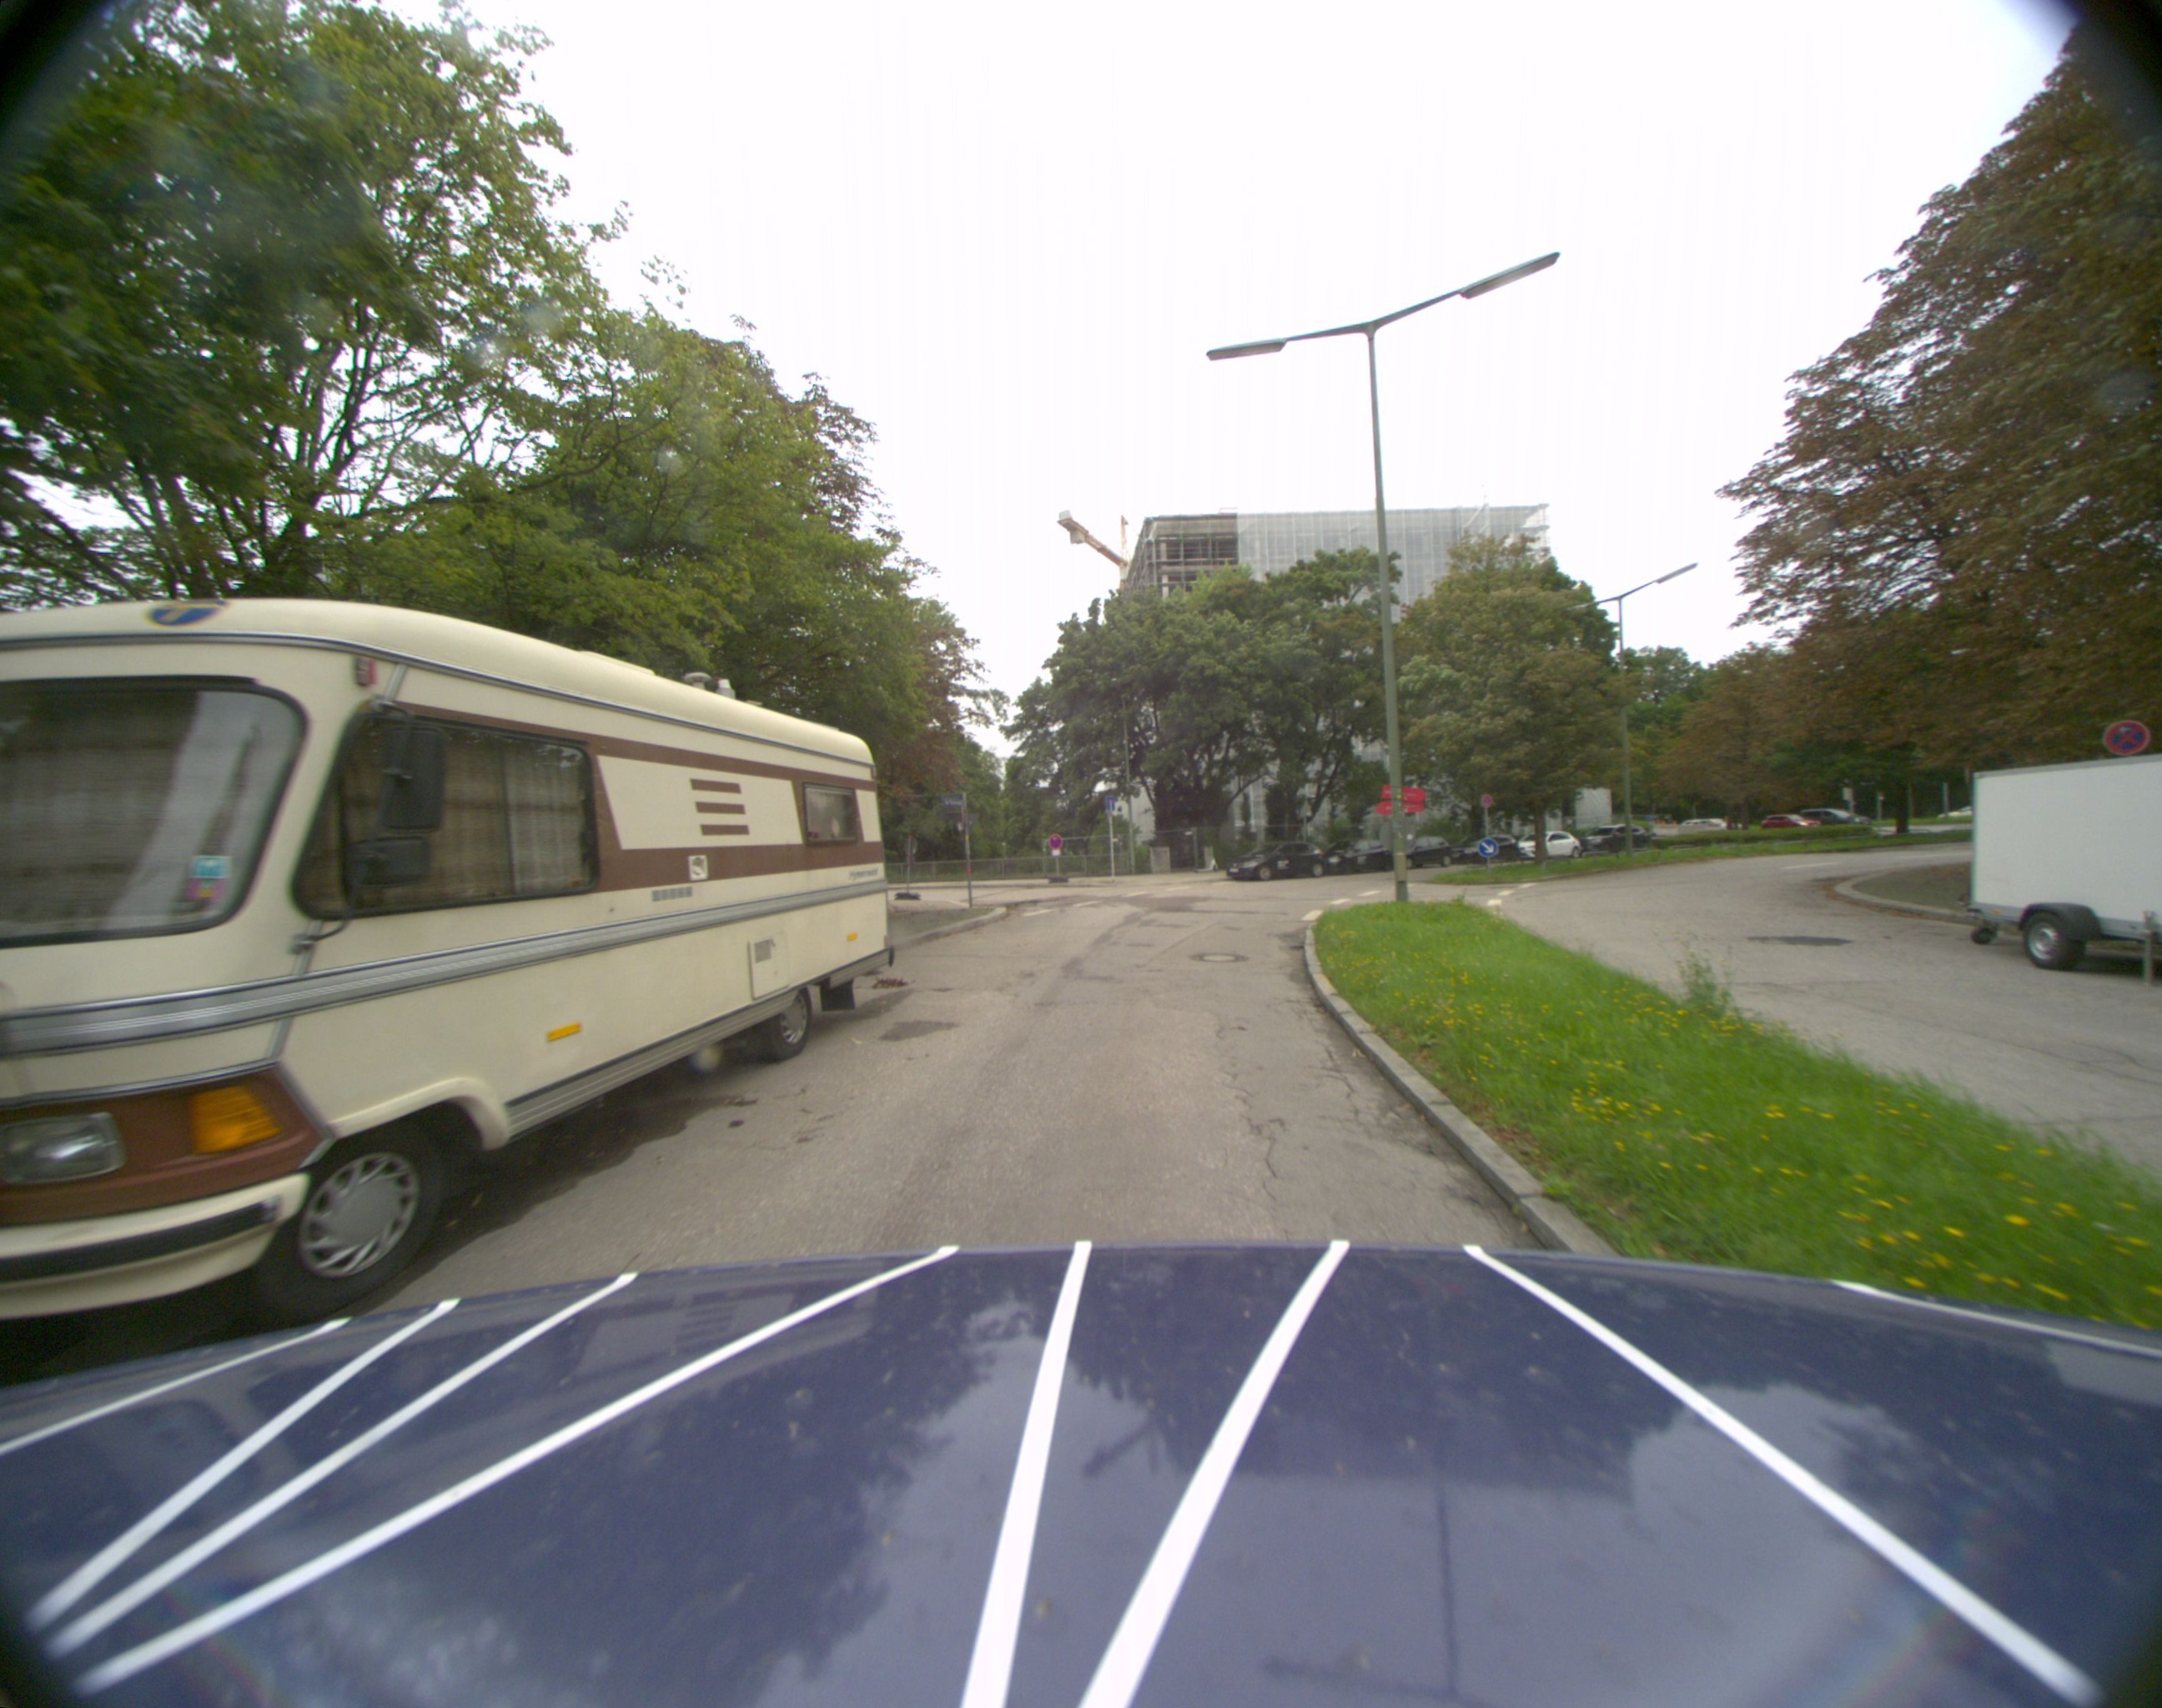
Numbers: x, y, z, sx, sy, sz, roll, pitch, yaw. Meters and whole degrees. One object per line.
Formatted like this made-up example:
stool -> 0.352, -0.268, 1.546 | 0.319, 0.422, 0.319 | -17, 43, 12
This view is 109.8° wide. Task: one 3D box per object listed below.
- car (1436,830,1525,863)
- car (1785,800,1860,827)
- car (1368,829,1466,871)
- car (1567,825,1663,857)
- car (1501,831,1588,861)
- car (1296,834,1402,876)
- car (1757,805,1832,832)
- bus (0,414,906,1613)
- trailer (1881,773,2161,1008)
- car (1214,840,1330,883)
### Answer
car -> 19.156, -0.365, 36.439 | 4.011, 1.452, 1.836 | -2, 0, -29
car -> 61.213, -3.281, 62.808 | 2.000, 2.002, 3.996 | -2, 1, -10
car -> 14.993, -0.211, 33.888 | 4.005, 1.696, 1.995 | -2, 2, -29
car -> 28.080, -0.671, 39.981 | 4.399, 1.596, 1.889 | -1, 0, -18
car -> 23.507, -0.399, 38.519 | 4.223, 1.375, 1.798 | -2, 0, -26
car -> 11.121, 0.006, 31.488 | 4.006, 1.532, 1.995 | -3, 2, -31
car -> 58.525, -2.886, 62.418 | 2.000, 2.002, 4.153 | -2, 1, -10
bus -> -3.247, 0.334, 4.606 | 2.320, 2.683, 5.736 | -2, 1, 7
trailer -> 10.826, 0.246, 7.873 | 1.810, 2.002, 4.842 | -2, 0, 25
car -> 7.394, 0.227, 29.320 | 4.048, 1.425, 1.995 | -3, 3, -28
